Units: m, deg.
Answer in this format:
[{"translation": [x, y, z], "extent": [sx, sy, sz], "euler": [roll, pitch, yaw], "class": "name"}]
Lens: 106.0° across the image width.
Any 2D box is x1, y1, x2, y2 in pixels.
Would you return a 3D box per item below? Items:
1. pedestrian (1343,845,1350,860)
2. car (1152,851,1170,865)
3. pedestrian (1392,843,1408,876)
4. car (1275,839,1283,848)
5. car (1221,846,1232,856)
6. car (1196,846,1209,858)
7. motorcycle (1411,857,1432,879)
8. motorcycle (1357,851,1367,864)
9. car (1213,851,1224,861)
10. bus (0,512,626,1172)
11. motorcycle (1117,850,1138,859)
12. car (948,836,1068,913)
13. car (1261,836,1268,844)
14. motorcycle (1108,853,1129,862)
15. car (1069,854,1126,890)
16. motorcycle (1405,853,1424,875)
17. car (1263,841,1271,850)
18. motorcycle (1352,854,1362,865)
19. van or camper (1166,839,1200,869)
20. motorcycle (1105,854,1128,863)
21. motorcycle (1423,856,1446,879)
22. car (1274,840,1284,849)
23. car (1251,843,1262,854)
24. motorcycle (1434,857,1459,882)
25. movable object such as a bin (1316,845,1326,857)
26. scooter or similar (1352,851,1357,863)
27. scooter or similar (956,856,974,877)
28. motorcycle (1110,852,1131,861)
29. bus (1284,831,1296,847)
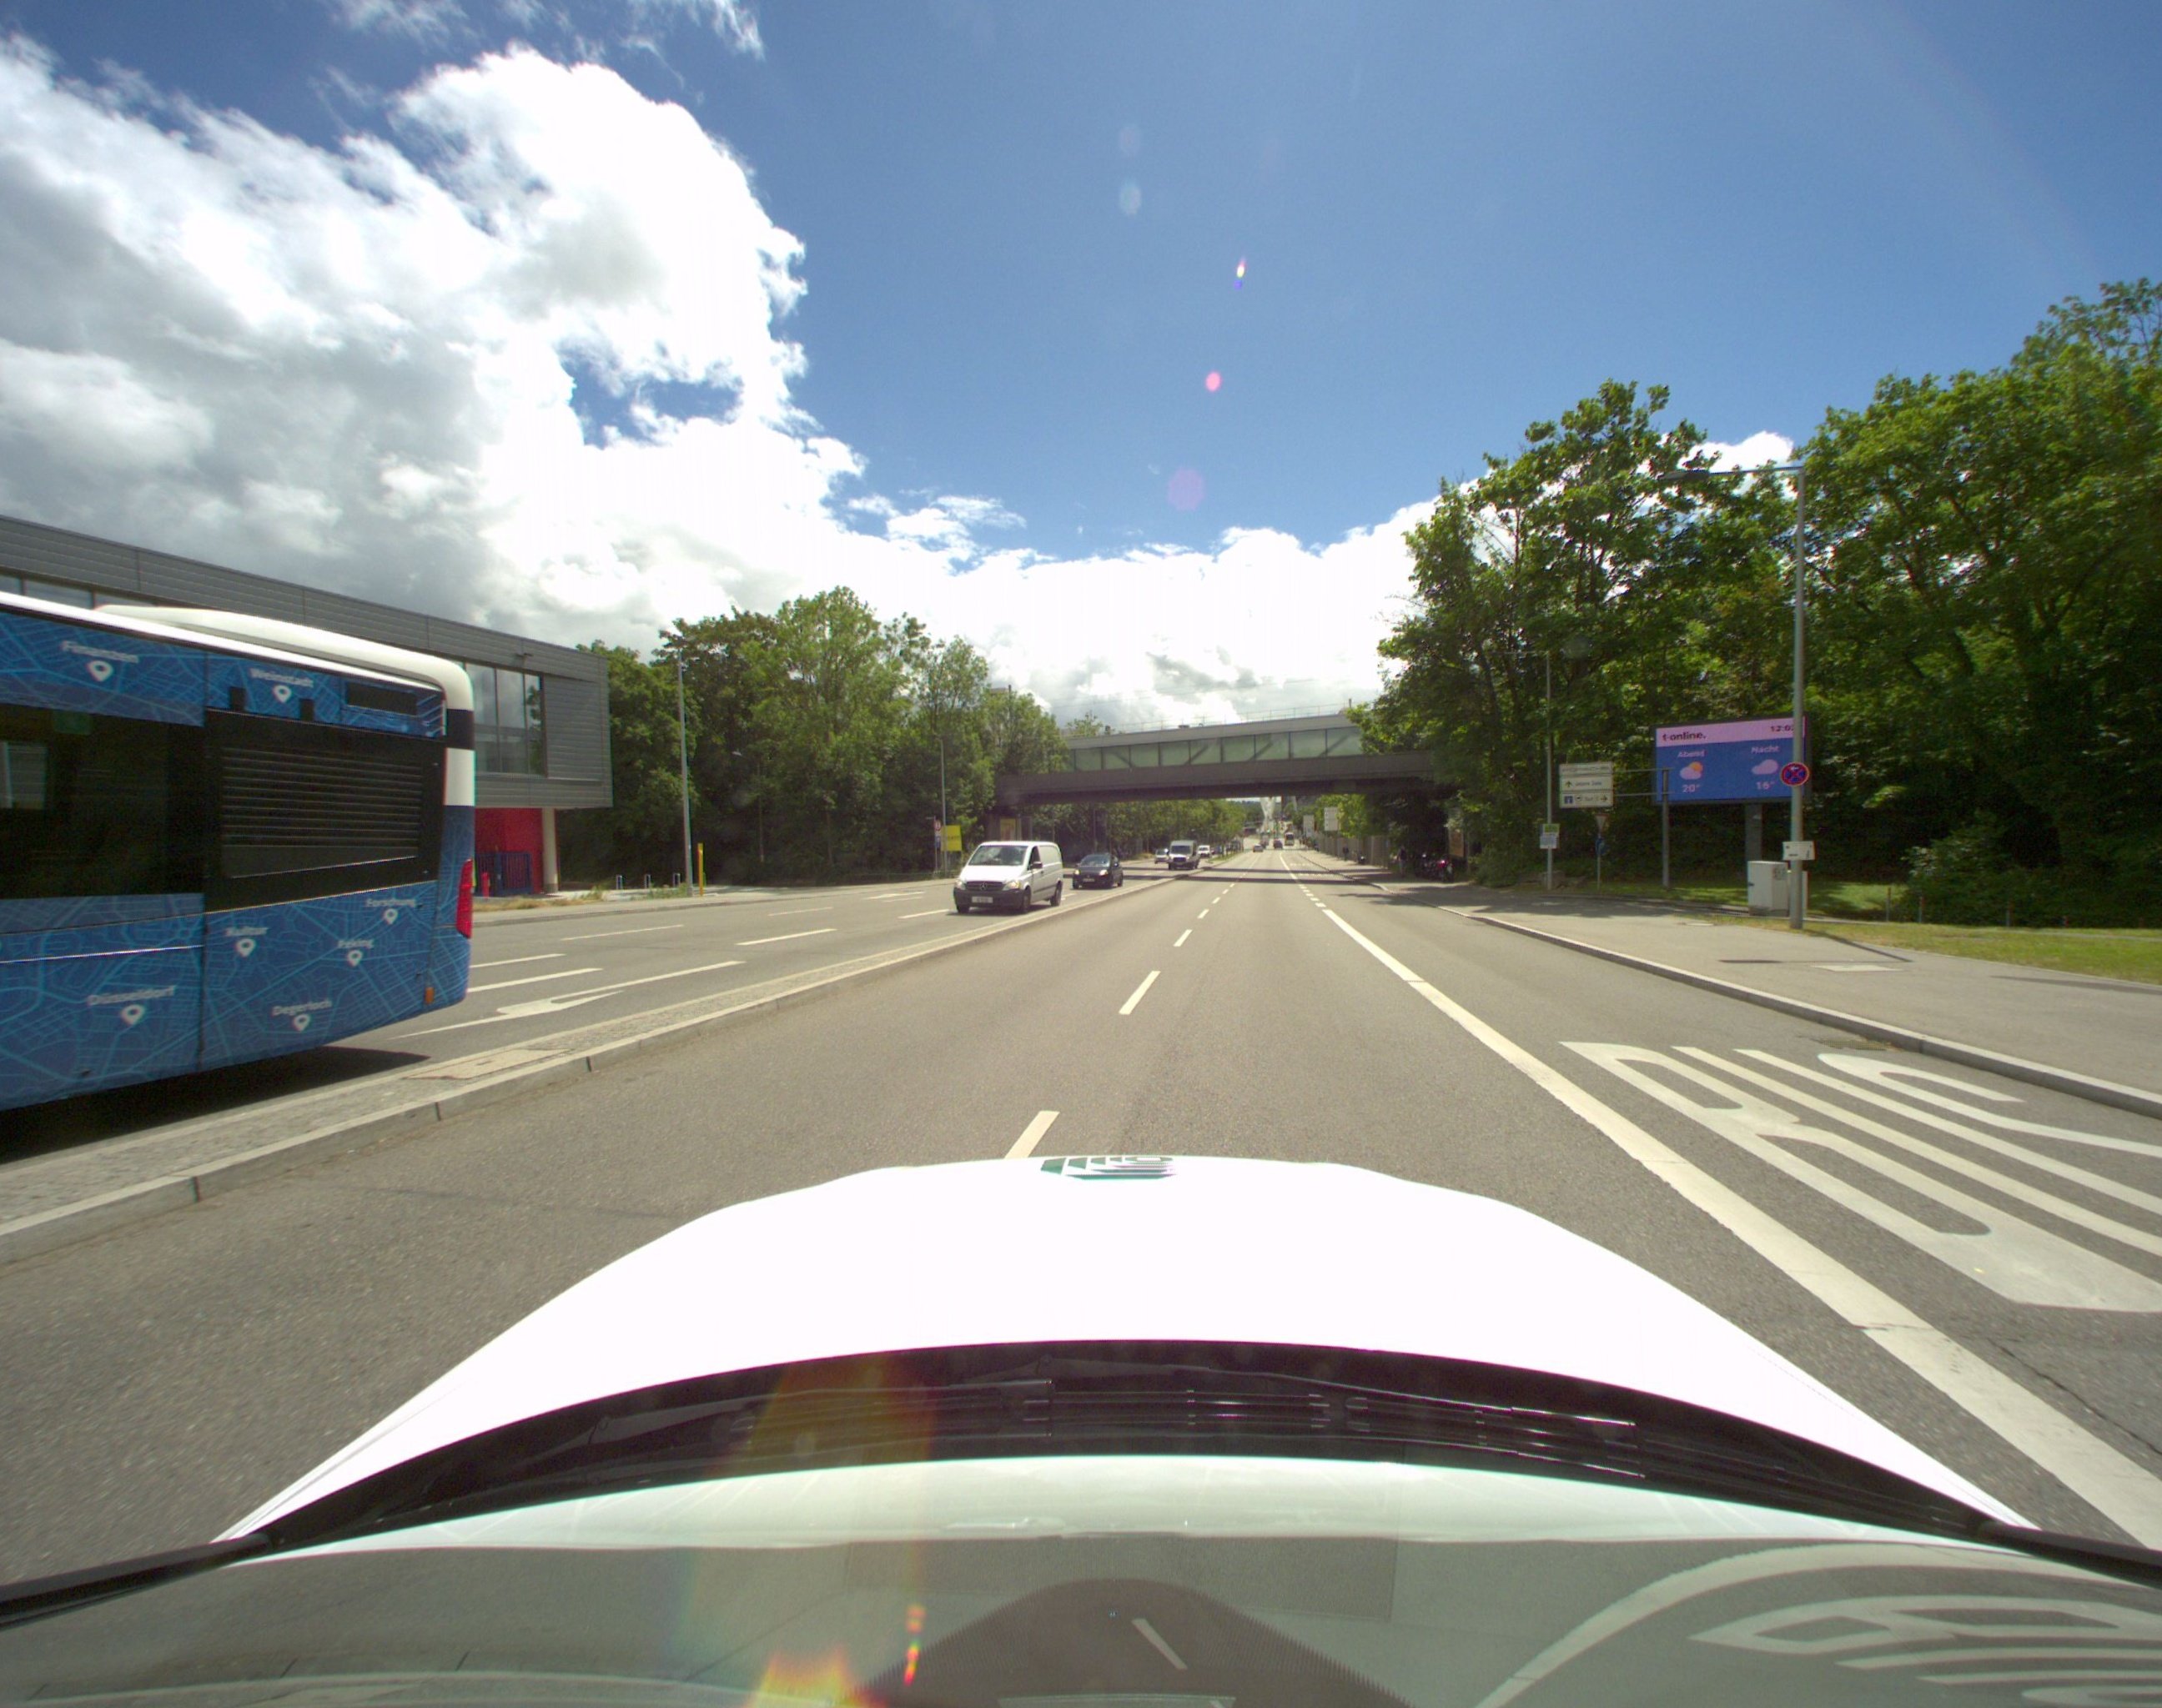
[{"translation": [28.927, -0.191, 88.722], "extent": [0.616, 1.618, 0.749], "euler": [-1, 4, 12], "class": "pedestrian"}, {"translation": [8.876, 0.402, 89.812], "extent": [1.690, 1.551, 3.935], "euler": [0, 0, 10], "class": "car"}, {"translation": [17.892, 0.318, 45.685], "extent": [0.619, 1.858, 0.875], "euler": [-1, -1, 11], "class": "pedestrian"}, {"translation": [50.700, -2.731, 208.782], "extent": [1.979, 2.013, 4.018], "euler": [-1, 4, 14], "class": "car"}, {"translation": [29.804, -0.660, 167.288], "extent": [1.980, 2.013, 4.015], "euler": [-1, 0, 13], "class": "car"}, {"translation": [16.839, -0.253, 112.502], "extent": [1.690, 1.698, 3.935], "euler": [0, 0, 10], "class": "car"}, {"translation": [17.699, 0.705, 42.378], "extent": [0.543, 1.110, 2.023], "euler": [-1, 0, 10], "class": "motorcycle"}, {"translation": [25.402, 0.304, 73.612], "extent": [0.559, 1.029, 2.638], "euler": [-2, 1, 12], "class": "motorcycle"}, {"translation": [23.443, 0.301, 138.837], "extent": [1.689, 1.698, 3.938], "euler": [0, 0, 13], "class": "car"}, {"translation": [-6.703, -0.053, 3.585], "extent": [2.795, 3.164, 8.942], "euler": [0, 1, 14], "class": "bus"}, {"translation": [6.044, 0.035, 105.322], "extent": [2.554, 1.107, 0.799], "euler": [0, 0, 25], "class": "motorcycle"}, {"translation": [-1.879, 0.487, 22.662], "extent": [1.864, 1.925, 4.768], "euler": [0, 0, 14], "class": "car"}, {"translation": [50.826, -3.988, 225.747], "extent": [1.861, 2.013, 3.707], "euler": [-1, 4, 12], "class": "car"}, {"translation": [4.647, 0.417, 100.672], "extent": [2.554, 1.107, 0.799], "euler": [0, 0, 25], "class": "motorcycle"}, {"translation": [0.773, 0.737, 35.712], "extent": [1.625, 1.471, 3.791], "euler": [0, 0, 15], "class": "car"}, {"translation": [18.471, 0.561, 45.157], "extent": [0.543, 1.198, 1.908], "euler": [-1, 0, 10], "class": "motorcycle"}, {"translation": [42.678, -2.033, 186.940], "extent": [1.845, 1.705, 4.016], "euler": [-1, 5, 12], "class": "car"}, {"translation": [26.001, 0.505, 76.819], "extent": [0.559, 1.029, 2.638], "euler": [-2, 1, 12], "class": "motorcycle"}, {"translation": [8.494, -0.011, 67.188], "extent": [1.994, 2.401, 6.423], "euler": [-1, 0, 14], "class": "van or camper"}, {"translation": [4.312, 0.555, 98.930], "extent": [2.554, 1.107, 0.799], "euler": [0, 0, 25], "class": "motorcycle"}, {"translation": [17.242, 0.635, 39.723], "extent": [0.543, 1.110, 2.023], "euler": [-1, 0, 10], "class": "motorcycle"}, {"translation": [45.280, -2.188, 186.199], "extent": [1.980, 1.860, 4.014], "euler": [-1, 0, 12], "class": "car"}, {"translation": [33.654, -1.053, 155.822], "extent": [1.916, 1.771, 4.016], "euler": [-1, 4, 13], "class": "car"}, {"translation": [16.711, 0.703, 37.244], "extent": [0.543, 1.110, 2.023], "euler": [-1, 0, 10], "class": "motorcycle"}, {"translation": [42.832, -0.589, 145.400], "extent": [1.651, 2.132, 1.284], "euler": [0, 0, 18], "class": "movable object such as a bin"}, {"translation": [28.058, 0.302, 83.557], "extent": [0.366, 1.177, 1.137], "euler": [0, 0, 12], "class": "scooter or similar"}, {"translation": [-6.752, 0.735, 47.530], "extent": [0.607, 1.211, 1.265], "euler": [-1, 0, 12], "class": "scooter or similar"}, {"translation": [4.937, 0.280, 102.419], "extent": [2.554, 1.107, 0.799], "euler": [0, 0, 25], "class": "motorcycle"}, {"translation": [58.165, -4.155, 226.794], "extent": [2.777, 3.751, 9.505], "euler": [-1, 4, 12], "class": "bus"}]
